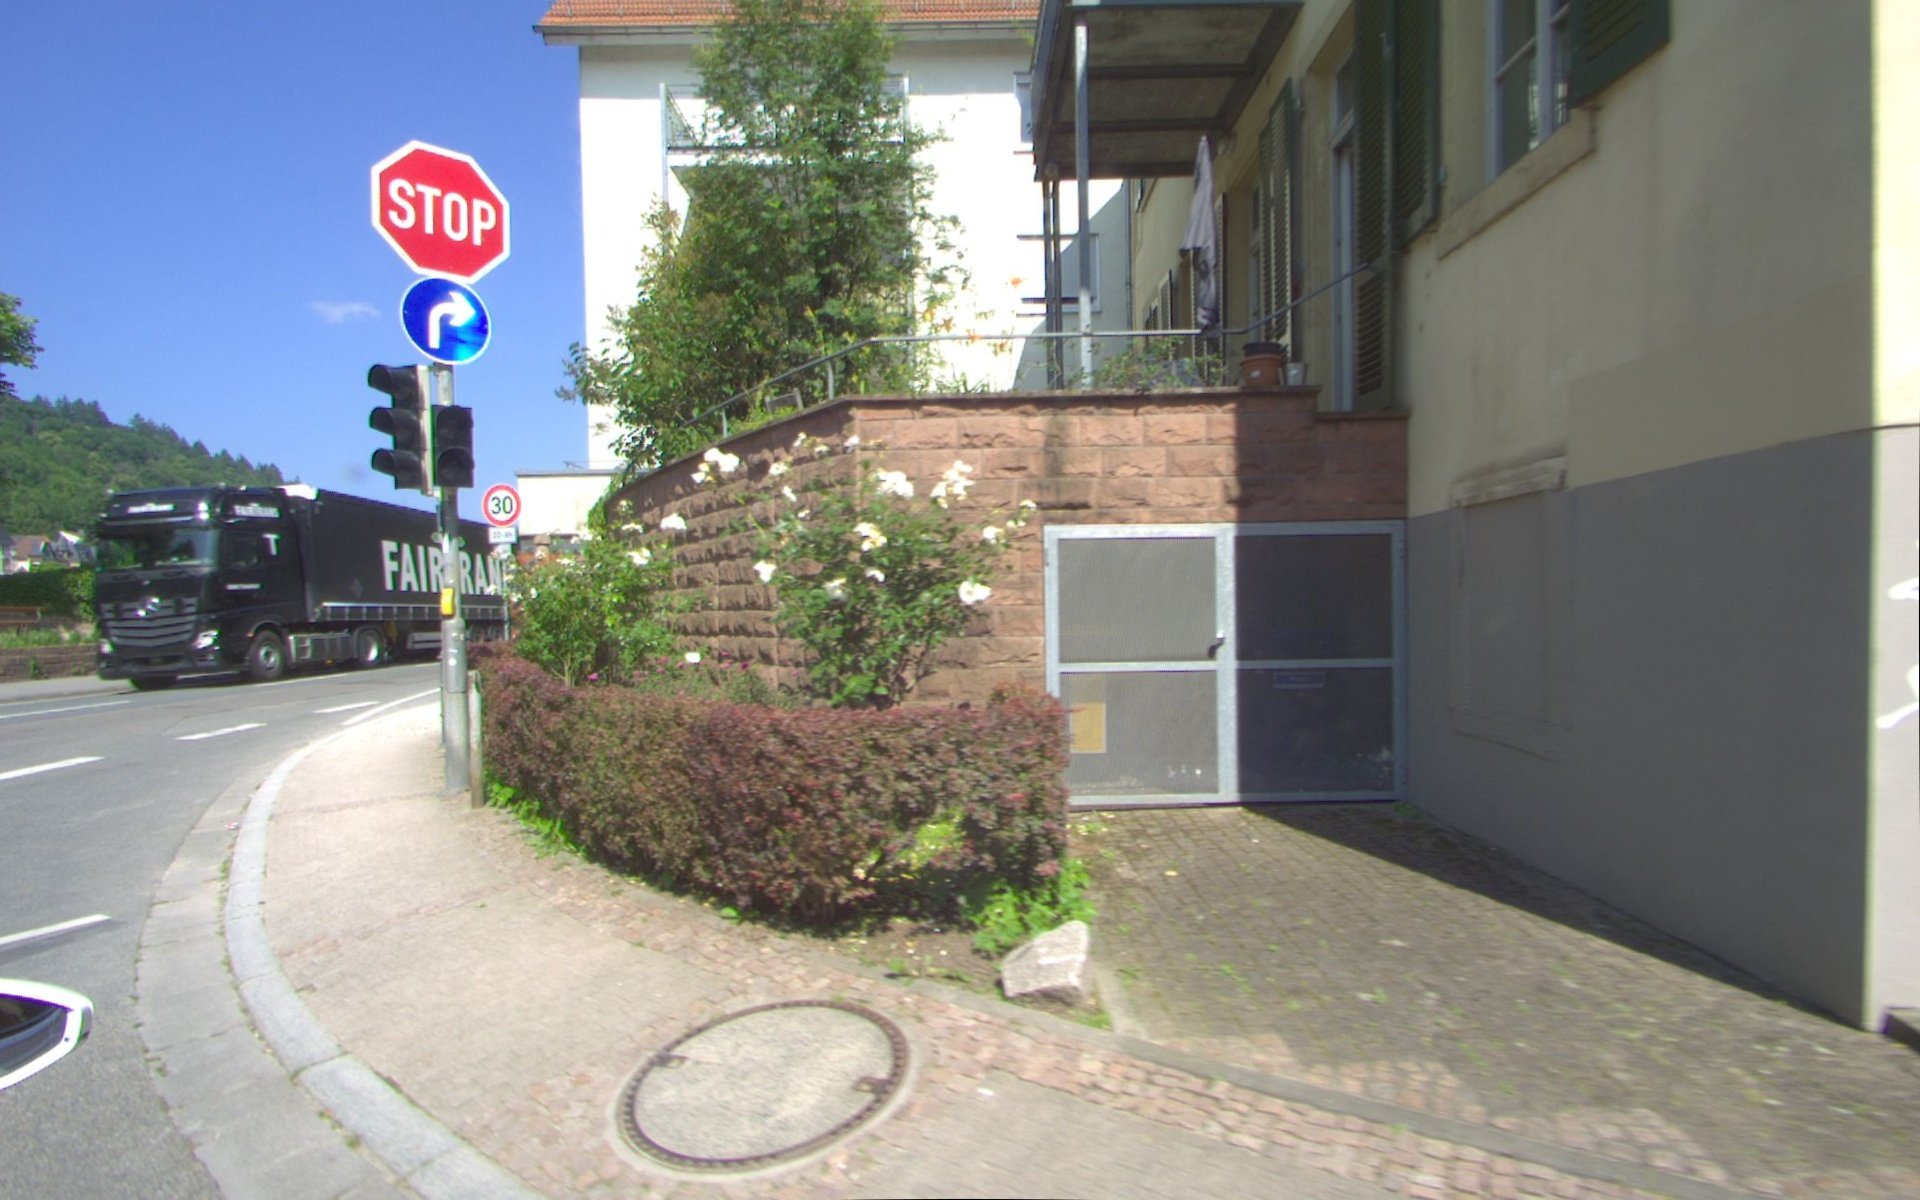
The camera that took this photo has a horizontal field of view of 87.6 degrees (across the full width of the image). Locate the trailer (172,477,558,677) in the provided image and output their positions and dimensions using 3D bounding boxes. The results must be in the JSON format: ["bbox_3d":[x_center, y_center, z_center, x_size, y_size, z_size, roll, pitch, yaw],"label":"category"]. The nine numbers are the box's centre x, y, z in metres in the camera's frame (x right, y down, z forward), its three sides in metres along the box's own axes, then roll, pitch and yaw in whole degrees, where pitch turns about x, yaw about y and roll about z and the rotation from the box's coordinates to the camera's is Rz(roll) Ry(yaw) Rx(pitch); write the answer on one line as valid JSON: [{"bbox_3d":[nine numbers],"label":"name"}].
[{"bbox_3d":[-15.470,-0.503,28.280,2.787,4.158,13.769,-2,0,-1],"label":"trailer"}]

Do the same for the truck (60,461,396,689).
[{"bbox_3d":[-15.303,-0.475,21.641,2.784,4.125,5.931,-2,0,-1],"label":"truck"}]
